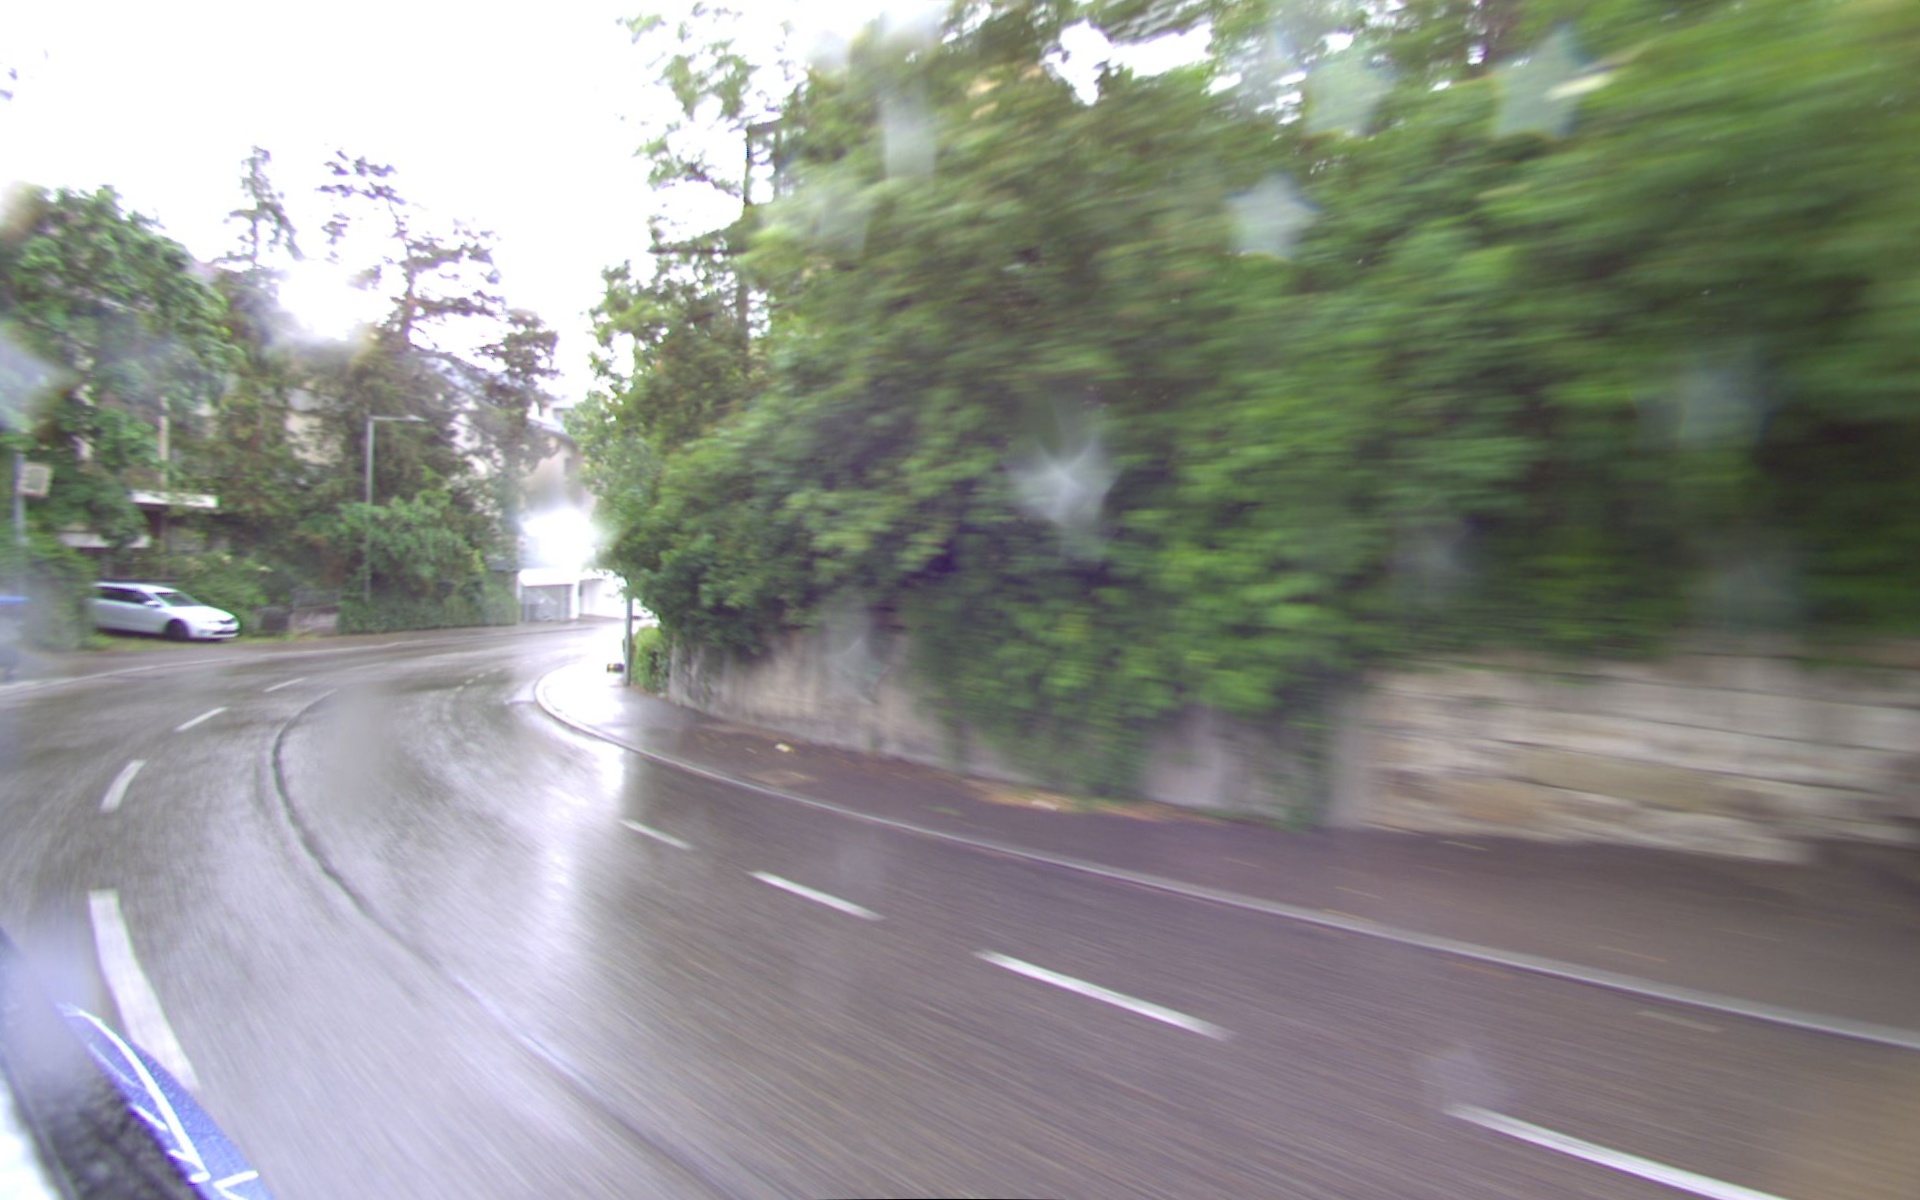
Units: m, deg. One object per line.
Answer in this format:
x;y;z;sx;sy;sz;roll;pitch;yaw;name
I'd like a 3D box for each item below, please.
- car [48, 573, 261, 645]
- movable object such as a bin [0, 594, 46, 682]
-23.598;0.299;29.786;4.499;1.564;2.001;6;-2;-2;car
-16.310;0.591;16.613;1.143;1.420;1.485;5;-2;-2;movable object such as a bin
